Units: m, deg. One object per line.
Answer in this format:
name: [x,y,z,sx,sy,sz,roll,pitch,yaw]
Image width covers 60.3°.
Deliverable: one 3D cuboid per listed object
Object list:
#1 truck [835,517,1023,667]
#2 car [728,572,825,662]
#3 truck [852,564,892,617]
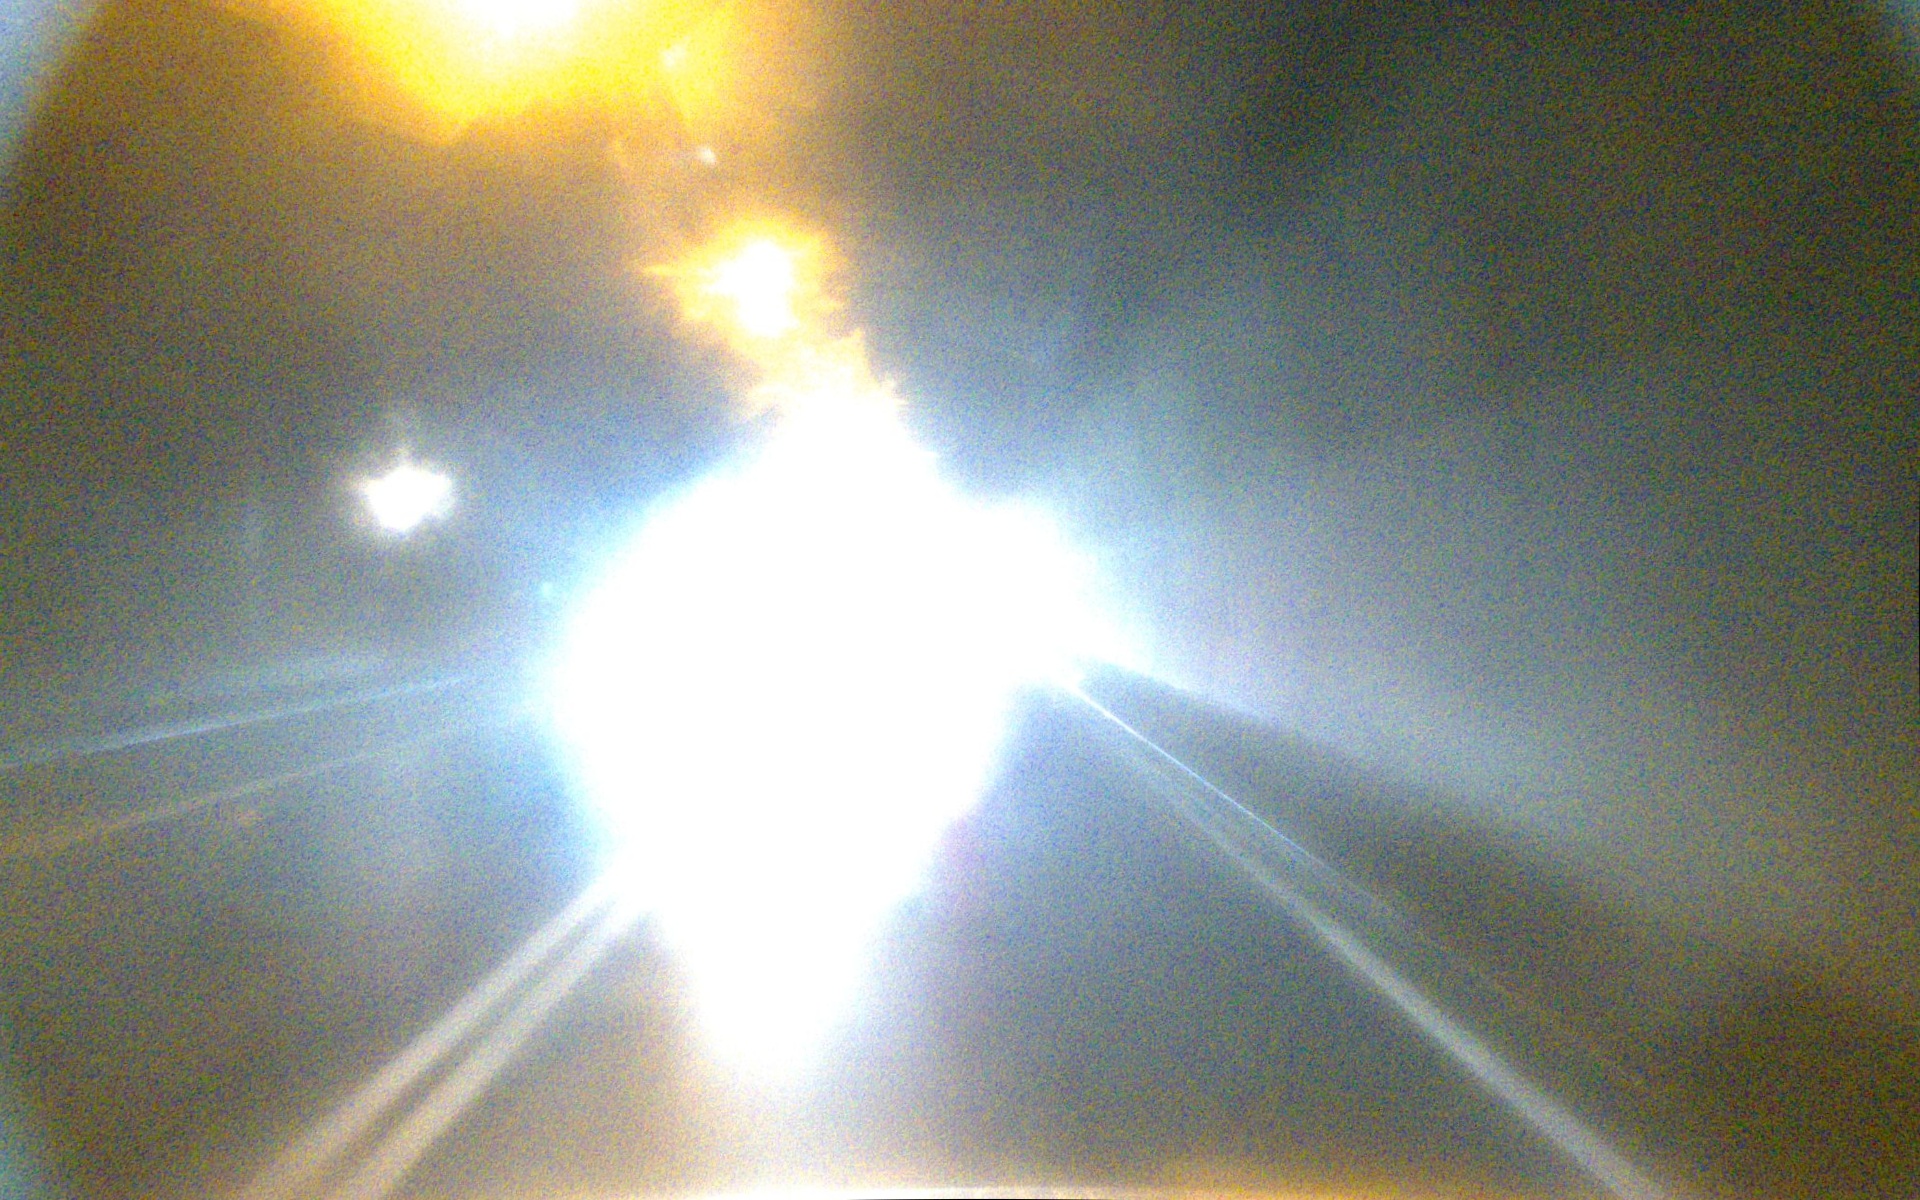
truck: [-0.630,-0.156,35.562,3.463,2.740,8.954,1,0,-1]
car: [-3.926,0.355,35.953,1.694,1.823,3.931,1,0,-1]
truck: [-5.383,-0.559,101.943,2.234,3.069,6.591,2,0,-2]
